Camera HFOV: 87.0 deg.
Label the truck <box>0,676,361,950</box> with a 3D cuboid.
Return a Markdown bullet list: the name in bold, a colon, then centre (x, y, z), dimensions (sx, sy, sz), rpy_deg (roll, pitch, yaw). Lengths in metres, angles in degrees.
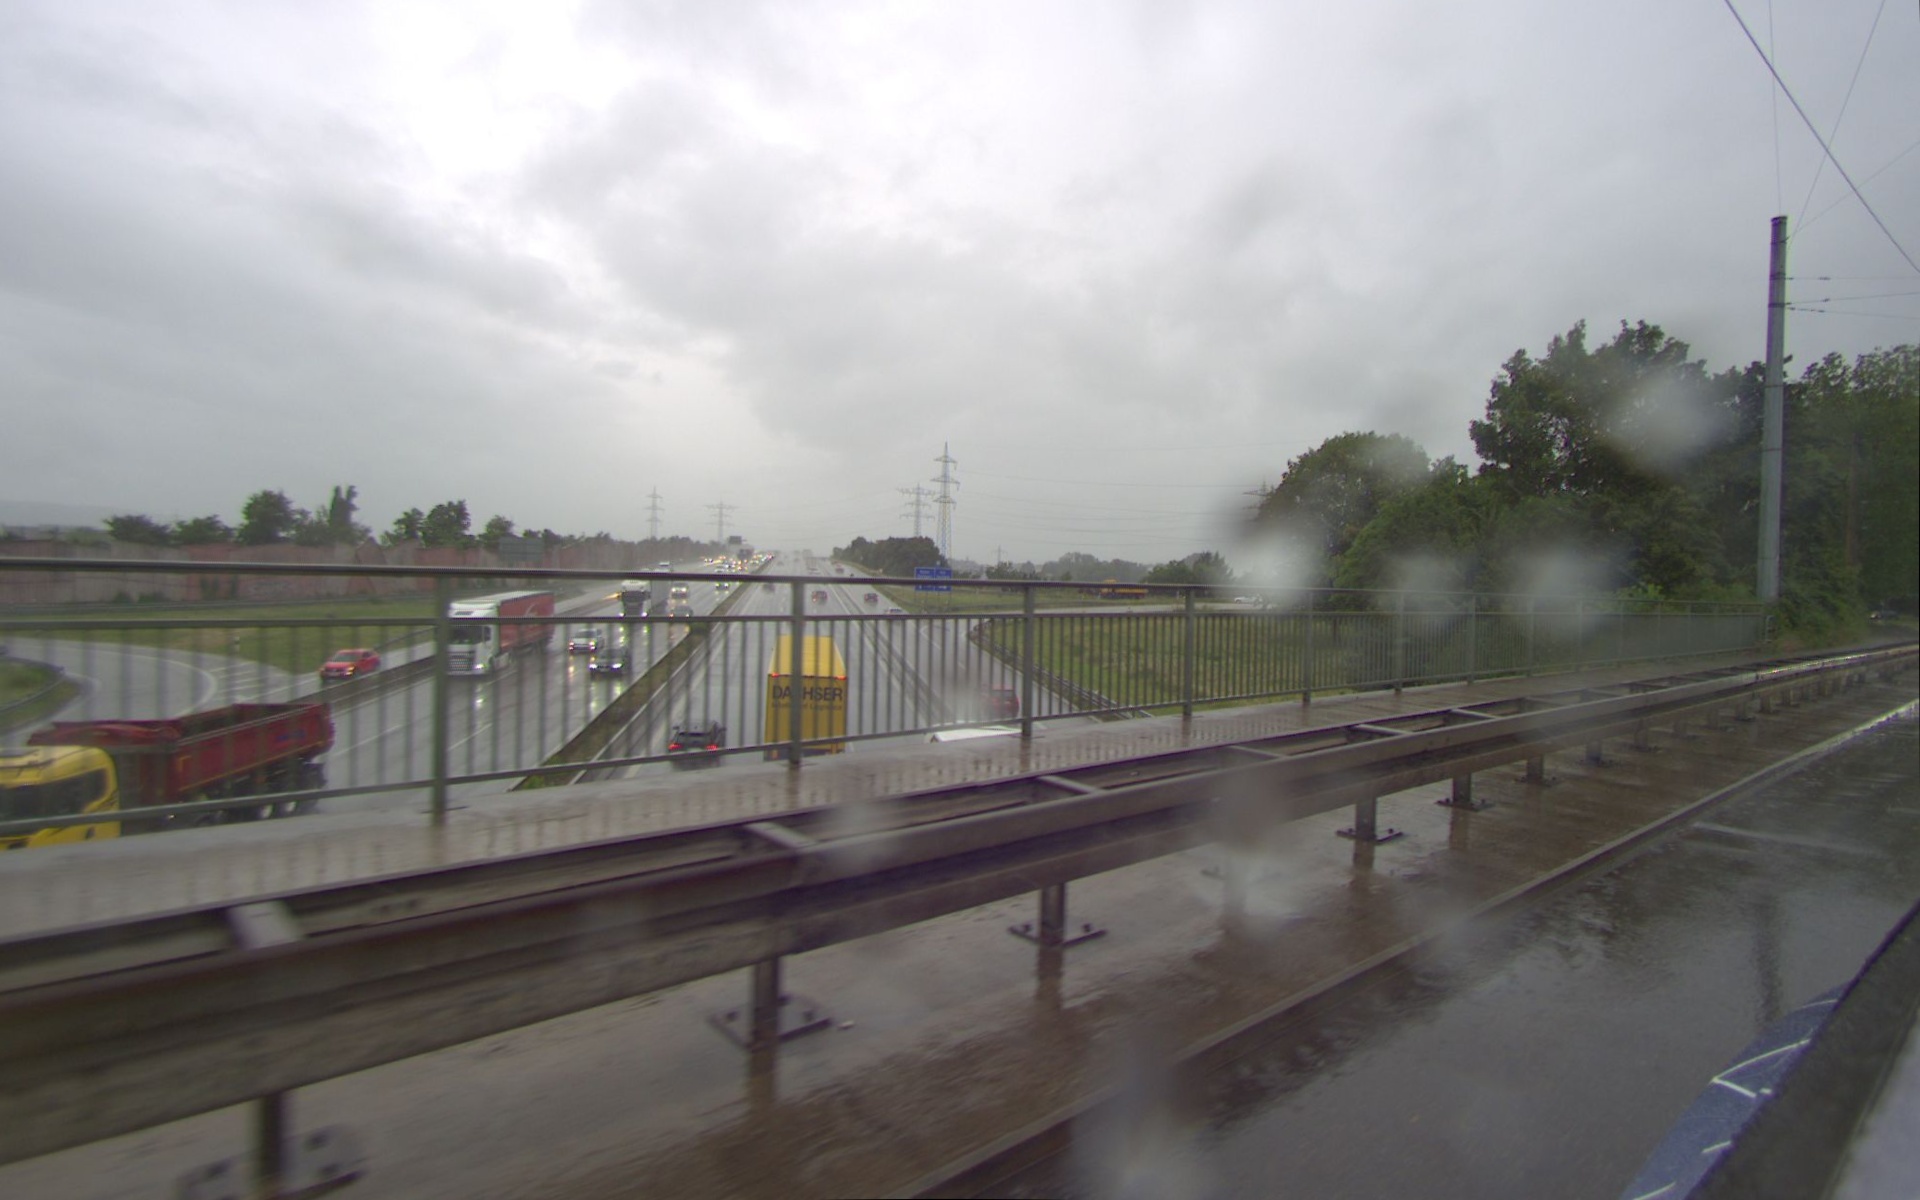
- **truck**: centre (-19.100, 4.390, 24.594), dimensions (3.079, 3.797, 12.400), rpy_deg (-1, 1, -7)

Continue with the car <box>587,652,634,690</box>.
- **car**: centre (-20.047, 4.052, 58.205), dimensions (1.769, 1.603, 4.009), rpy_deg (-1, 4, -8)

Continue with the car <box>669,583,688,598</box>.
- **car**: centre (-35.755, -1.214, 128.711), dimensions (1.887, 1.781, 3.876), rpy_deg (0, 0, -8)

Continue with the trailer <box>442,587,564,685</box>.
- **trailer**: centre (-28.990, 1.960, 65.126), dimensions (3.079, 5.008, 13.872), rpy_deg (-1, 3, -7)

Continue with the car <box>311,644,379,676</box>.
- **car**: centre (-33.631, 3.252, 55.444), dimensions (1.769, 1.605, 4.004), rpy_deg (-1, -2, -8)

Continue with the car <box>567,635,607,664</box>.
- **car**: centre (-25.632, 3.398, 69.670), dimensions (1.769, 1.517, 4.008), rpy_deg (-1, 3, -8)

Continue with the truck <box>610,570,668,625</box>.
- **truck**: centre (-30.589, -0.404, 97.030), dimensions (3.079, 4.496, 12.405), rpy_deg (-1, 3, -7)

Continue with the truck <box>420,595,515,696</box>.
- **truck**: centre (-28.065, 2.455, 57.964), dimensions (3.079, 5.176, 5.816), rpy_deg (-1, 3, -7)
